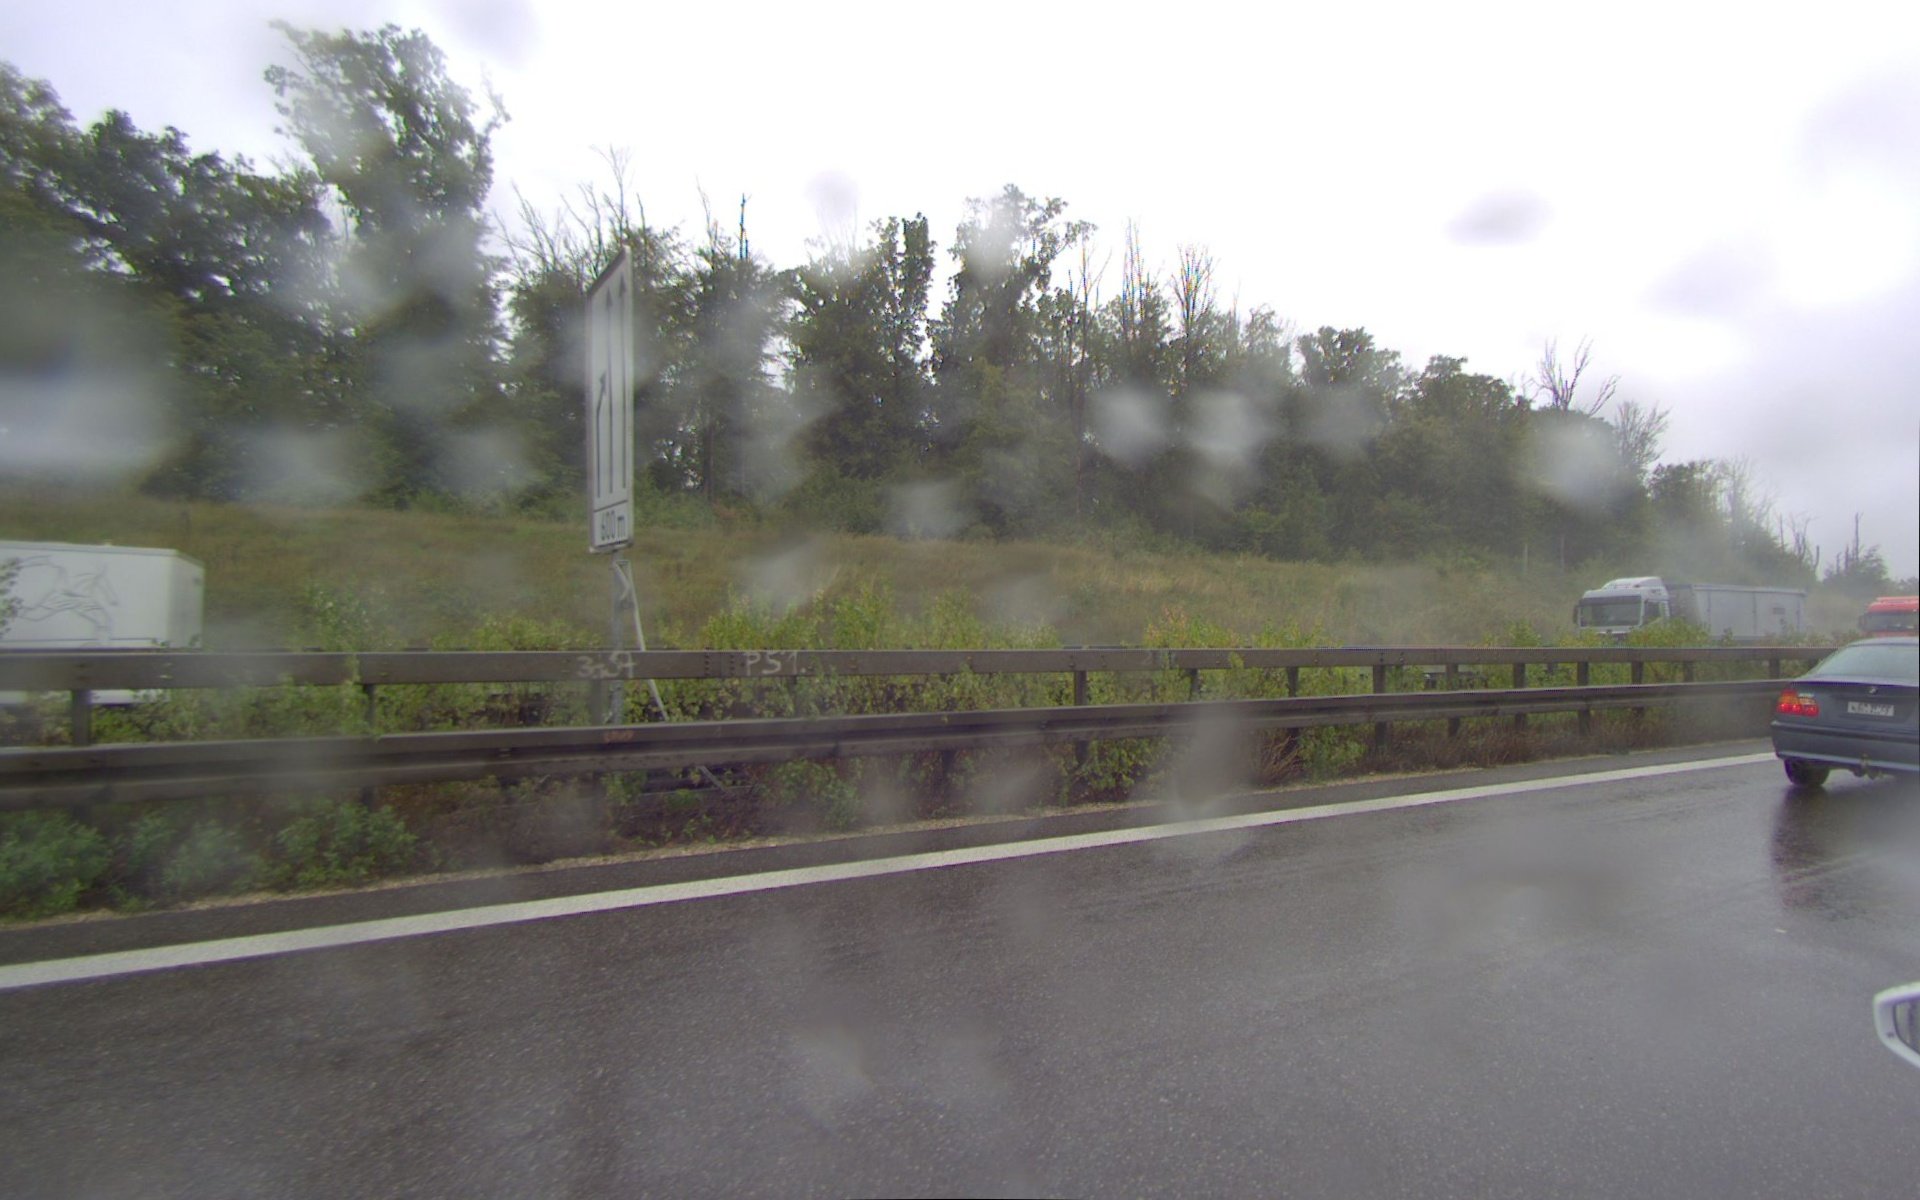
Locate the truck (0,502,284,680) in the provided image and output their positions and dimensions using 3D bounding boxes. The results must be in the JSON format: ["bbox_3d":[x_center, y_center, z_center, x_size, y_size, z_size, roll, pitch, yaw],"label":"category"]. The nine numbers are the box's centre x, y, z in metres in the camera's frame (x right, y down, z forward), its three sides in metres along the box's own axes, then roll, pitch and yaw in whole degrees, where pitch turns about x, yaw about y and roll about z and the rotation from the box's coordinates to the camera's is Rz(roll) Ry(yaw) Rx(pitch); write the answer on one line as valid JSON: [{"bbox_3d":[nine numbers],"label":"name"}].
[{"bbox_3d":[-14.887,-0.162,14.946,7.803,2.513,2.637,2,0,-31],"label":"truck"}]

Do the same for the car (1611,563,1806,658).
[{"bbox_3d":[31.820,0.533,42.493,10.847,3.659,2.672,2,0,-31],"label":"car"}]

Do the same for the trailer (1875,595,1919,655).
[{"bbox_3d":[55.782,1.486,56.830,10.953,3.193,2.673,2,0,-30],"label":"trailer"}]

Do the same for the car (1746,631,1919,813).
[{"bbox_3d":[9.364,1.041,9.383,4.178,1.418,1.710,1,0,-29],"label":"car"}]

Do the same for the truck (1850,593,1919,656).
[{"bbox_3d":[50.107,1.300,53.522,4.551,3.193,2.674,2,0,-30],"label":"truck"}]

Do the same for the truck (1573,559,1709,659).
[{"bbox_3d":[26.498,0.382,39.082,4.552,3.659,2.673,2,0,-31],"label":"truck"}]
